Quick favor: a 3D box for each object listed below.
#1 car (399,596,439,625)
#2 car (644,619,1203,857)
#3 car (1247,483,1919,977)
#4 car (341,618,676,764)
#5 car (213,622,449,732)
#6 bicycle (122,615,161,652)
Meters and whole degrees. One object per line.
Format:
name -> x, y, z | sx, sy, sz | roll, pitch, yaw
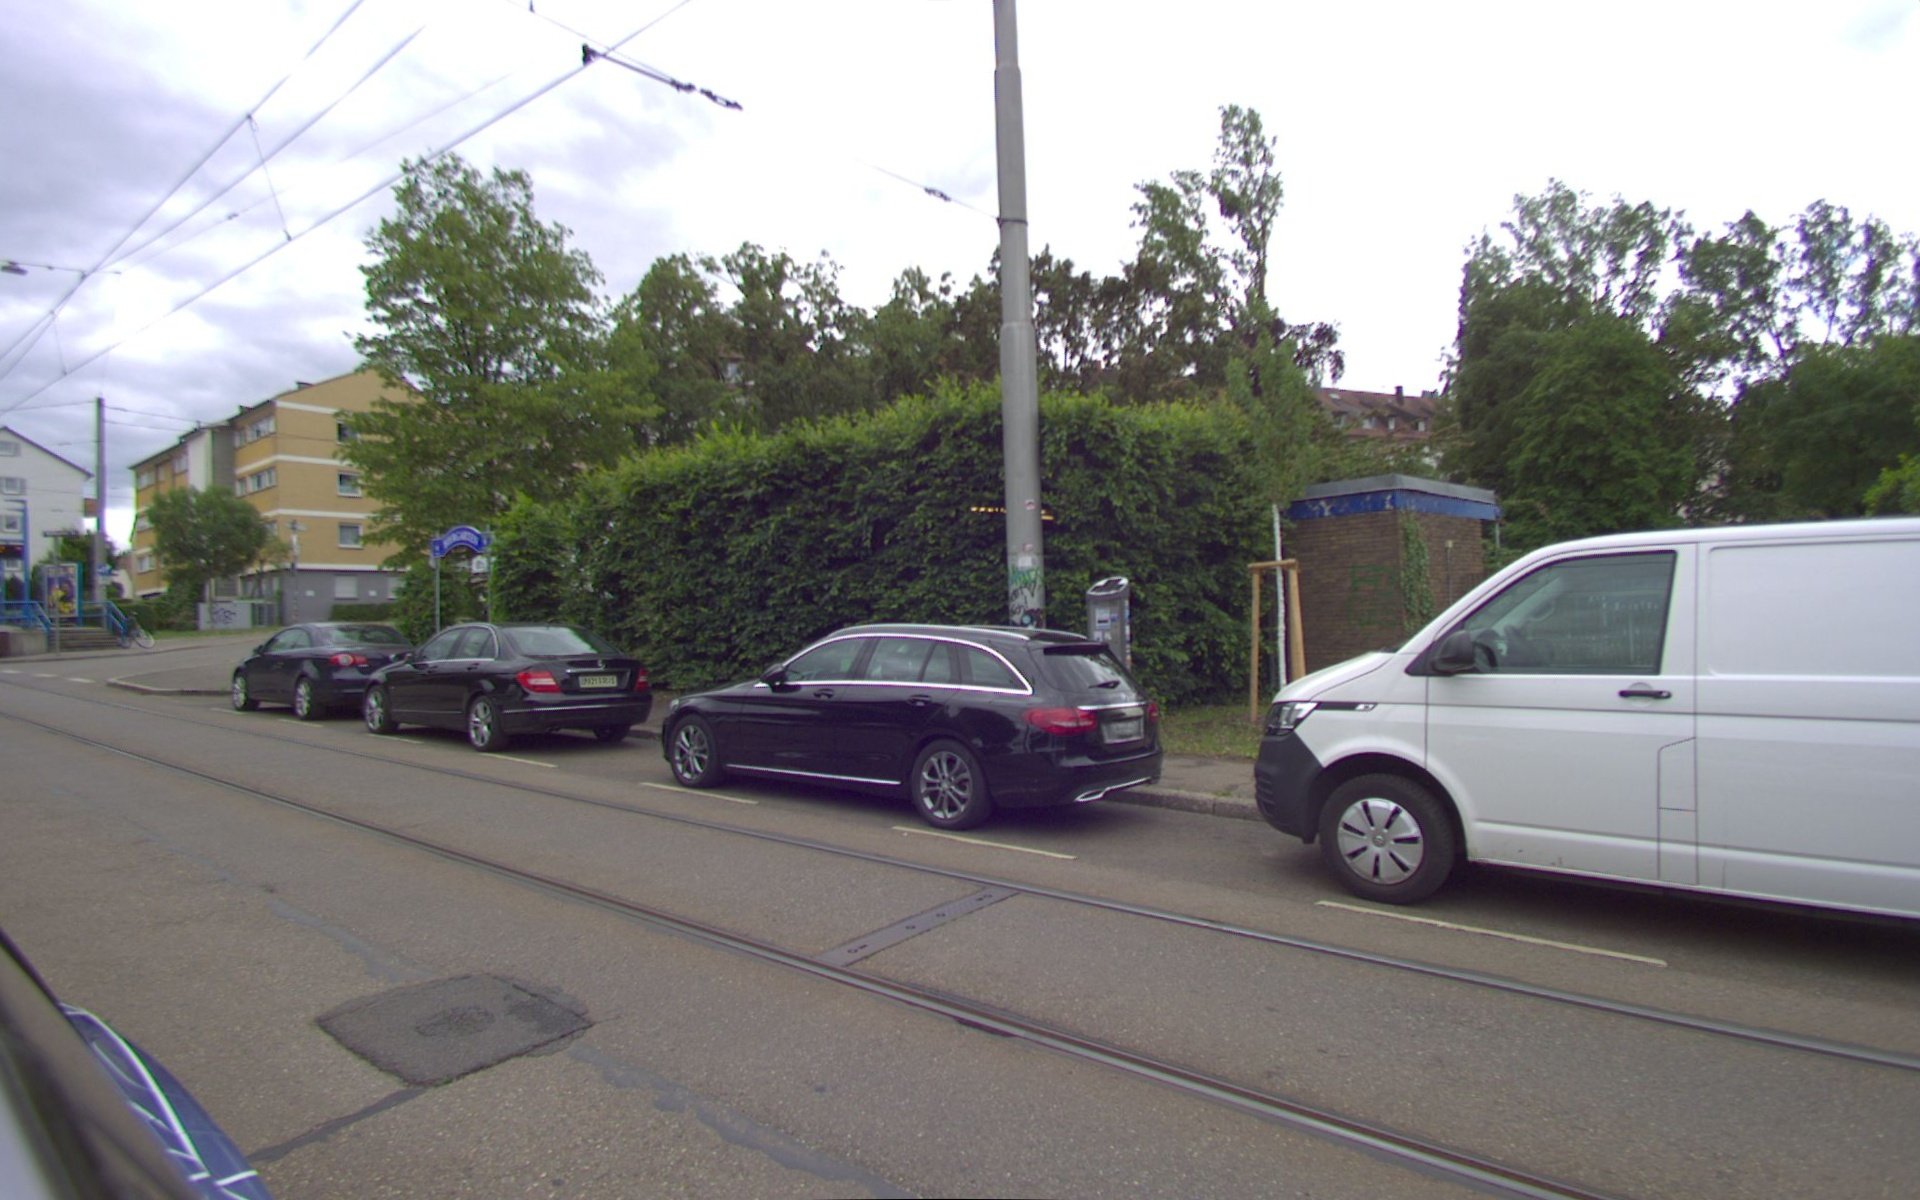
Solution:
car -> -28.698, 0.538, 53.757 | 1.810, 1.475, 4.013 | 0, 0, -27
car -> -0.477, 0.897, 8.389 | 4.511, 1.397, 1.823 | 0, -1, 37
car -> 4.057, 0.520, 4.954 | 4.727, 1.927, 1.950 | 0, -1, 37
car -> -5.584, 0.958, 12.301 | 4.433, 1.397, 1.823 | 0, -1, 37
car -> -9.895, 1.100, 15.821 | 4.155, 1.415, 1.773 | 0, -1, 37
bicycle -> -27.419, 1.120, 33.888 | 1.486, 1.190, 0.705 | 0, -1, 39
